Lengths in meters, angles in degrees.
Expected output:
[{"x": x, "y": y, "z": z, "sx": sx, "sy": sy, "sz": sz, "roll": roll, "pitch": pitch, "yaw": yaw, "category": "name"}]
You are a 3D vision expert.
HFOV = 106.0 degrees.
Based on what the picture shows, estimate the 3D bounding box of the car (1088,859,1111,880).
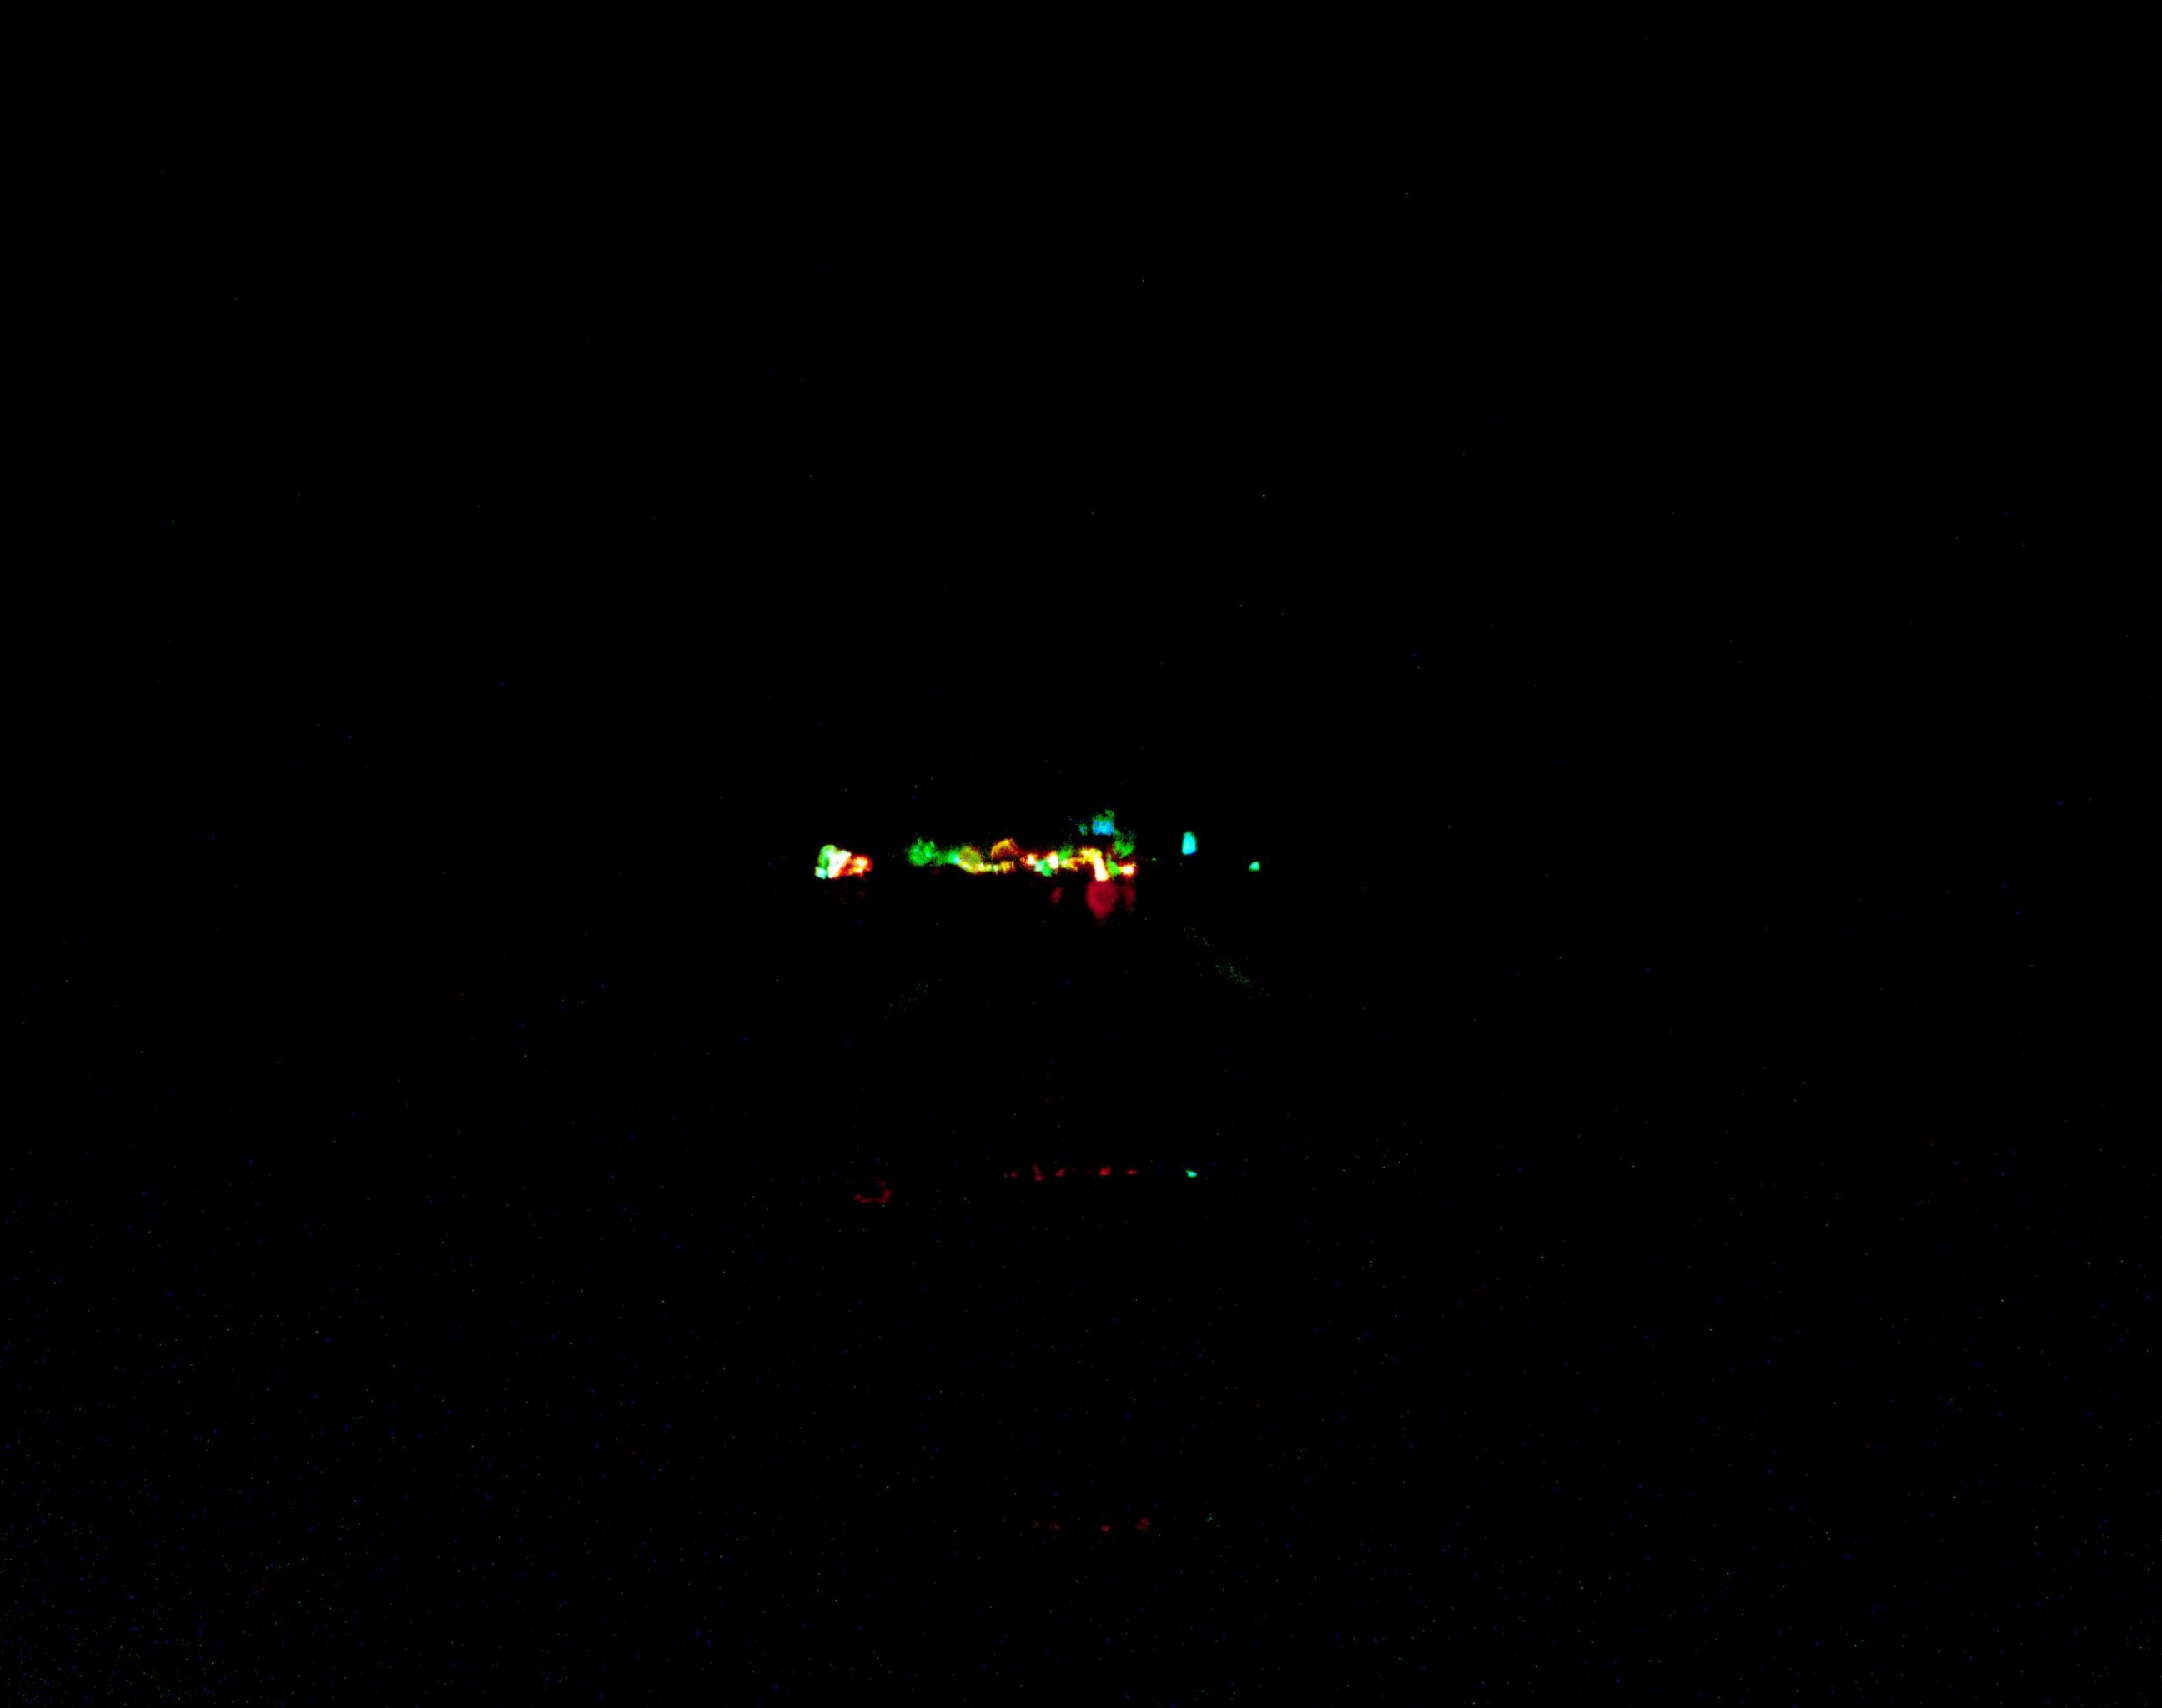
[{"x": 1.788, "y": 1.501, "z": 79.636, "sx": 2.119, "sy": 2.014, "sz": 4.643, "roll": 0, "pitch": -1, "yaw": -1, "category": "car"}]

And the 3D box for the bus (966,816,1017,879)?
[{"x": -6.845, "y": -0.415, "z": 63.573, "sx": 3.089, "sy": 4.508, "sz": 10.904, "roll": 0, "pitch": -1, "yaw": -2, "category": "bus"}]

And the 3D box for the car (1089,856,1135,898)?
[{"x": 1.395, "y": 1.018, "z": 36.915, "sx": 1.986, "sy": 1.807, "sz": 4.001, "roll": 0, "pitch": -1, "yaw": 1, "category": "car"}]

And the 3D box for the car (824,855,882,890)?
[{"x": -10.964, "y": 0.874, "z": 39.458, "sx": 1.990, "sy": 1.596, "sz": 3.993, "roll": 0, "pitch": -1, "yaw": -5, "category": "car"}]

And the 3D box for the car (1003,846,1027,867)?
[{"x": -5.983, "y": 0.251, "z": 74.263, "sx": 1.988, "sy": 1.807, "sz": 3.997, "roll": 0, "pitch": -1, "yaw": -2, "category": "car"}]

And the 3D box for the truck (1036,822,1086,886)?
[{"x": -1.735, "y": 0.099, "z": 77.697, "sx": 4.195, "sy": 5.648, "sz": 11.468, "roll": 0, "pitch": -1, "yaw": 1, "category": "truck"}]

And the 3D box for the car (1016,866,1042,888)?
[{"x": -4.340, "y": 1.900, "z": 68.620, "sx": 1.988, "sy": 1.807, "sz": 3.997, "roll": 0, "pitch": -1, "yaw": -2, "category": "car"}]

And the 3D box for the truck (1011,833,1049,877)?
[{"x": -6.770, "y": 0.190, "z": 110.211, "sx": 4.195, "sy": 5.648, "sz": 11.468, "roll": 0, "pitch": -1, "yaw": 1, "category": "truck"}]

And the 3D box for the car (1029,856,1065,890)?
[{"x": -2.084, "y": 1.183, "z": 51.531, "sx": 2.119, "sy": 2.014, "sz": 4.643, "roll": 0, "pitch": -1, "yaw": -1, "category": "car"}]
